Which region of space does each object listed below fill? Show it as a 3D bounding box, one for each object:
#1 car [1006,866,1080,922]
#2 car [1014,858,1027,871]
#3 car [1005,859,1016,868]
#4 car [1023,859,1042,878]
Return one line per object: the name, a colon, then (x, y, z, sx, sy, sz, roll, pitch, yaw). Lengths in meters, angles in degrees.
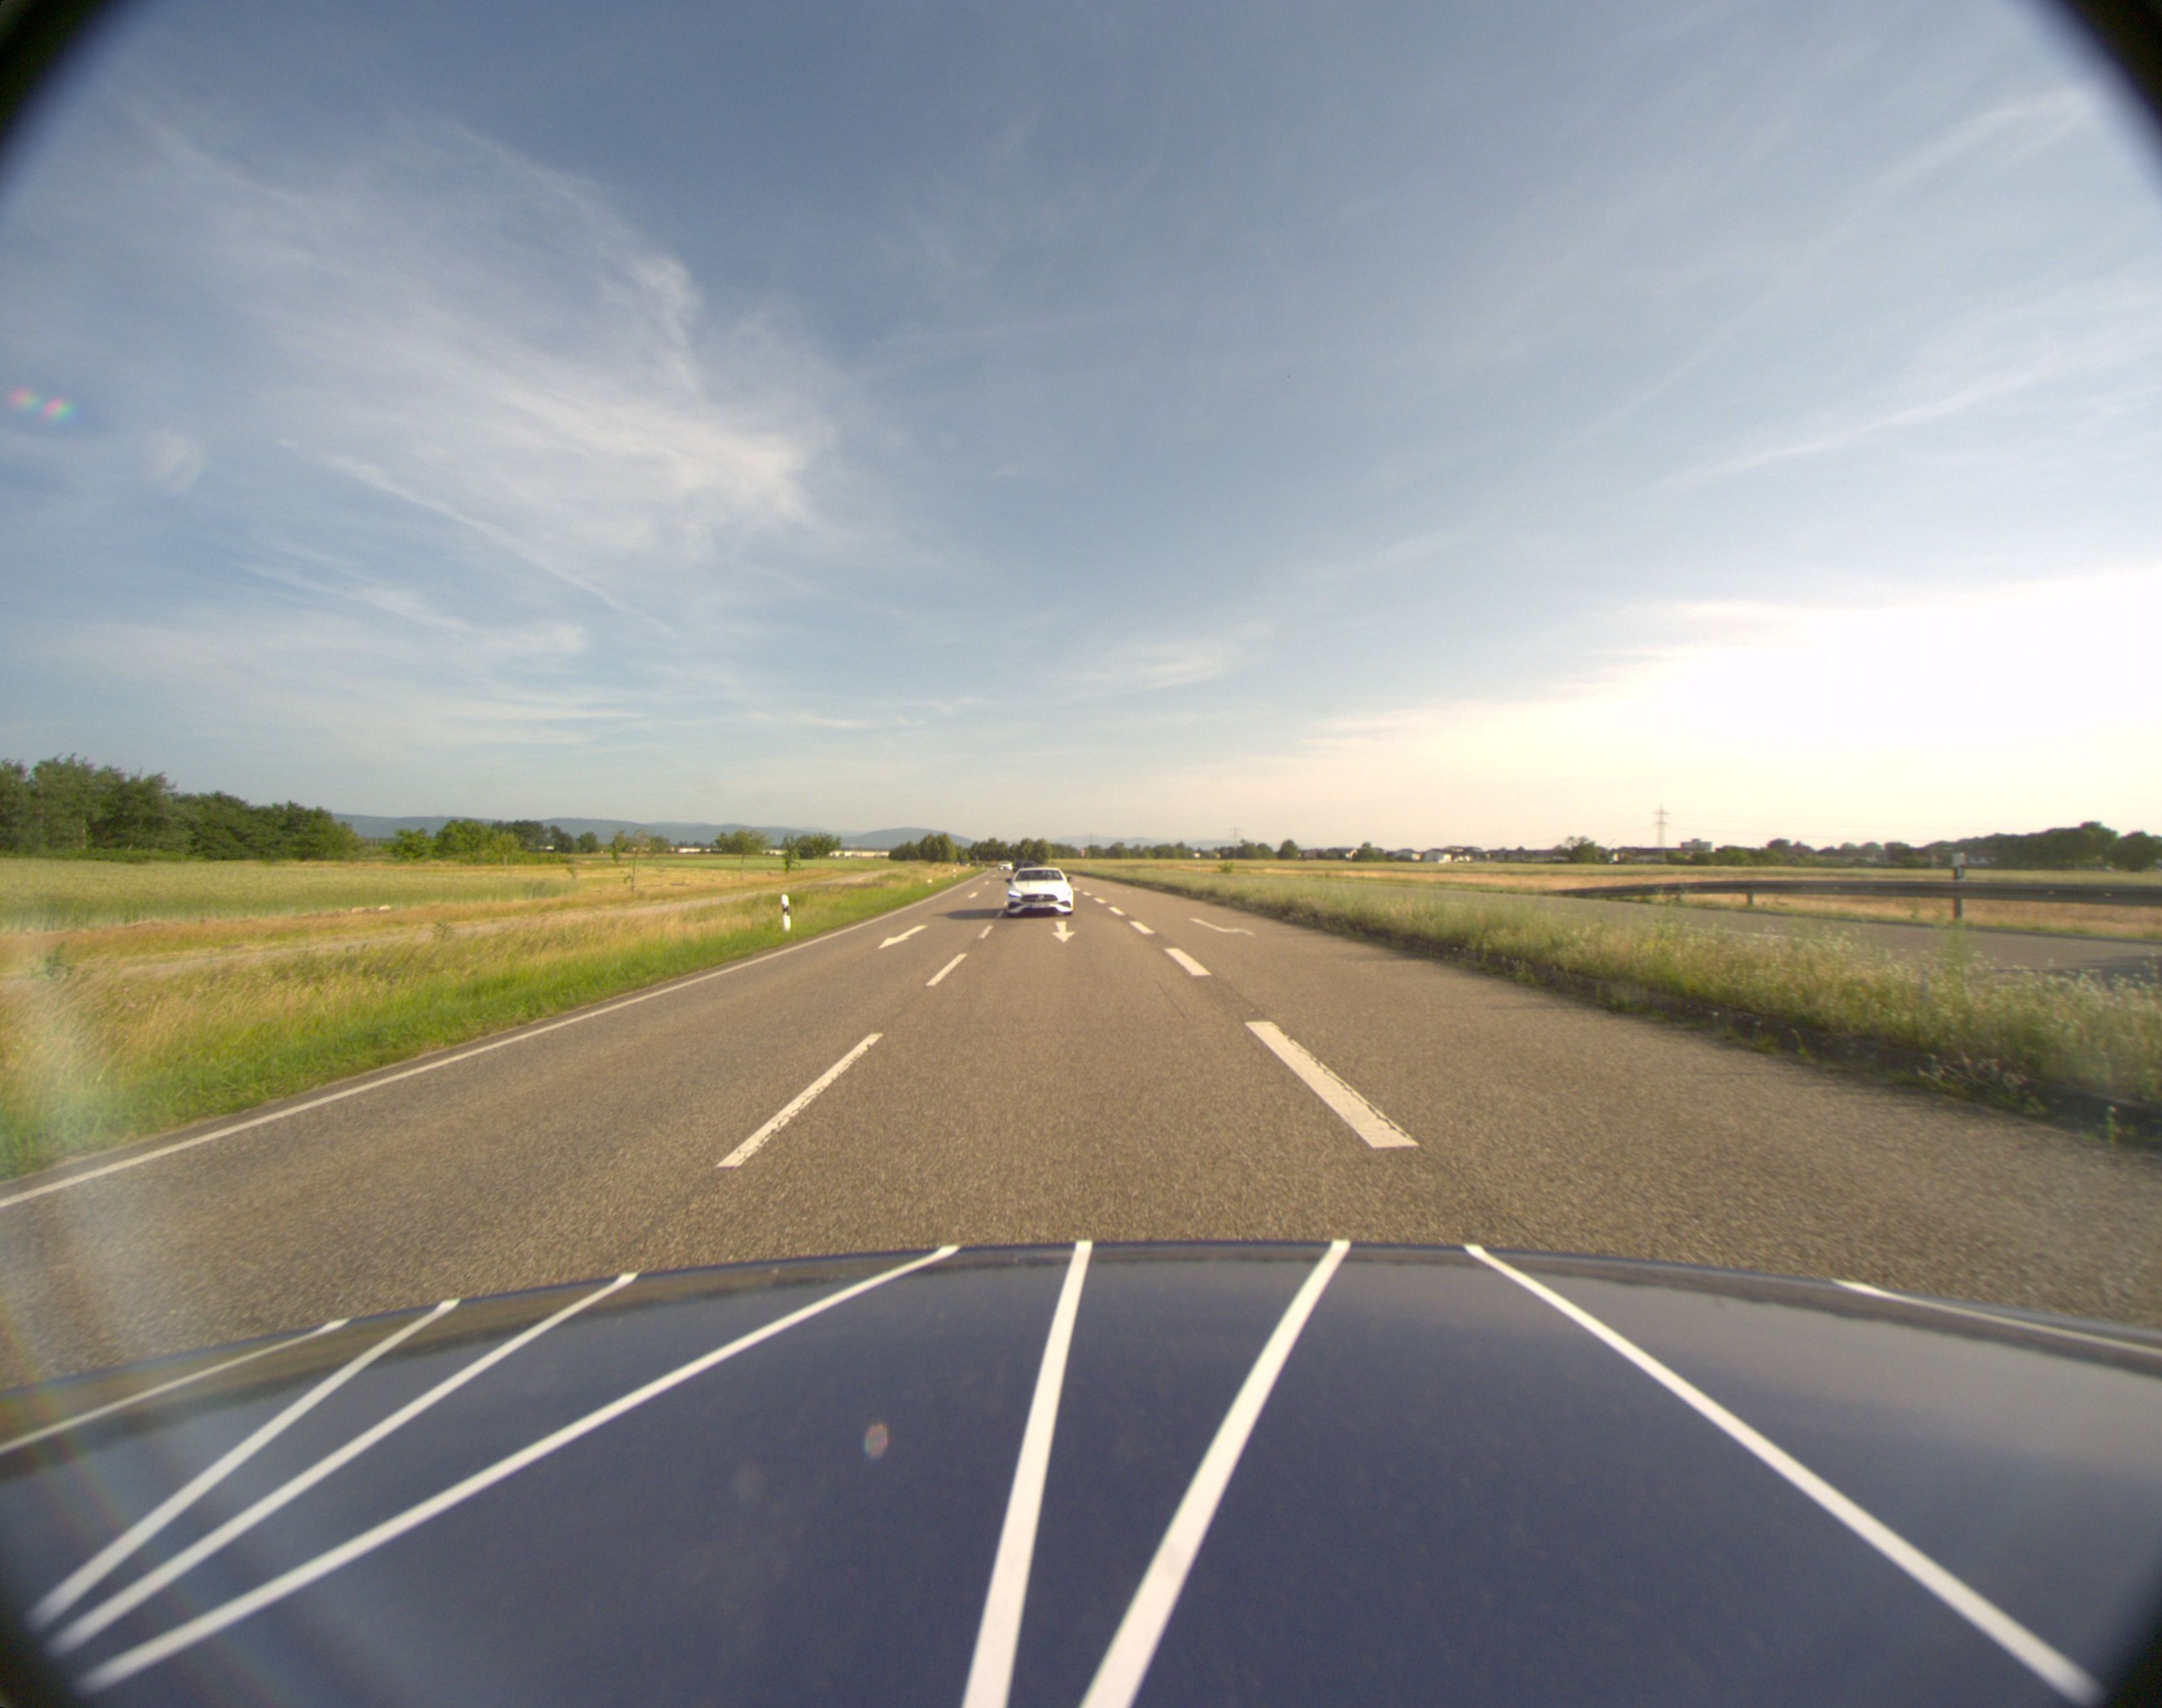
car: (-1.119, 1.111, 22.575, 1.941, 1.389, 3.917, -2, 0, -3)
car: (-7.660, 1.356, 95.982, 1.557, 1.550, 3.048, -1, 0, -3)
car: (-11.161, 1.518, 121.187, 1.557, 1.391, 4.034, -1, 0, -3)
car: (-4.194, 1.236, 65.775, 1.585, 1.496, 3.660, -1, 0, -3)
